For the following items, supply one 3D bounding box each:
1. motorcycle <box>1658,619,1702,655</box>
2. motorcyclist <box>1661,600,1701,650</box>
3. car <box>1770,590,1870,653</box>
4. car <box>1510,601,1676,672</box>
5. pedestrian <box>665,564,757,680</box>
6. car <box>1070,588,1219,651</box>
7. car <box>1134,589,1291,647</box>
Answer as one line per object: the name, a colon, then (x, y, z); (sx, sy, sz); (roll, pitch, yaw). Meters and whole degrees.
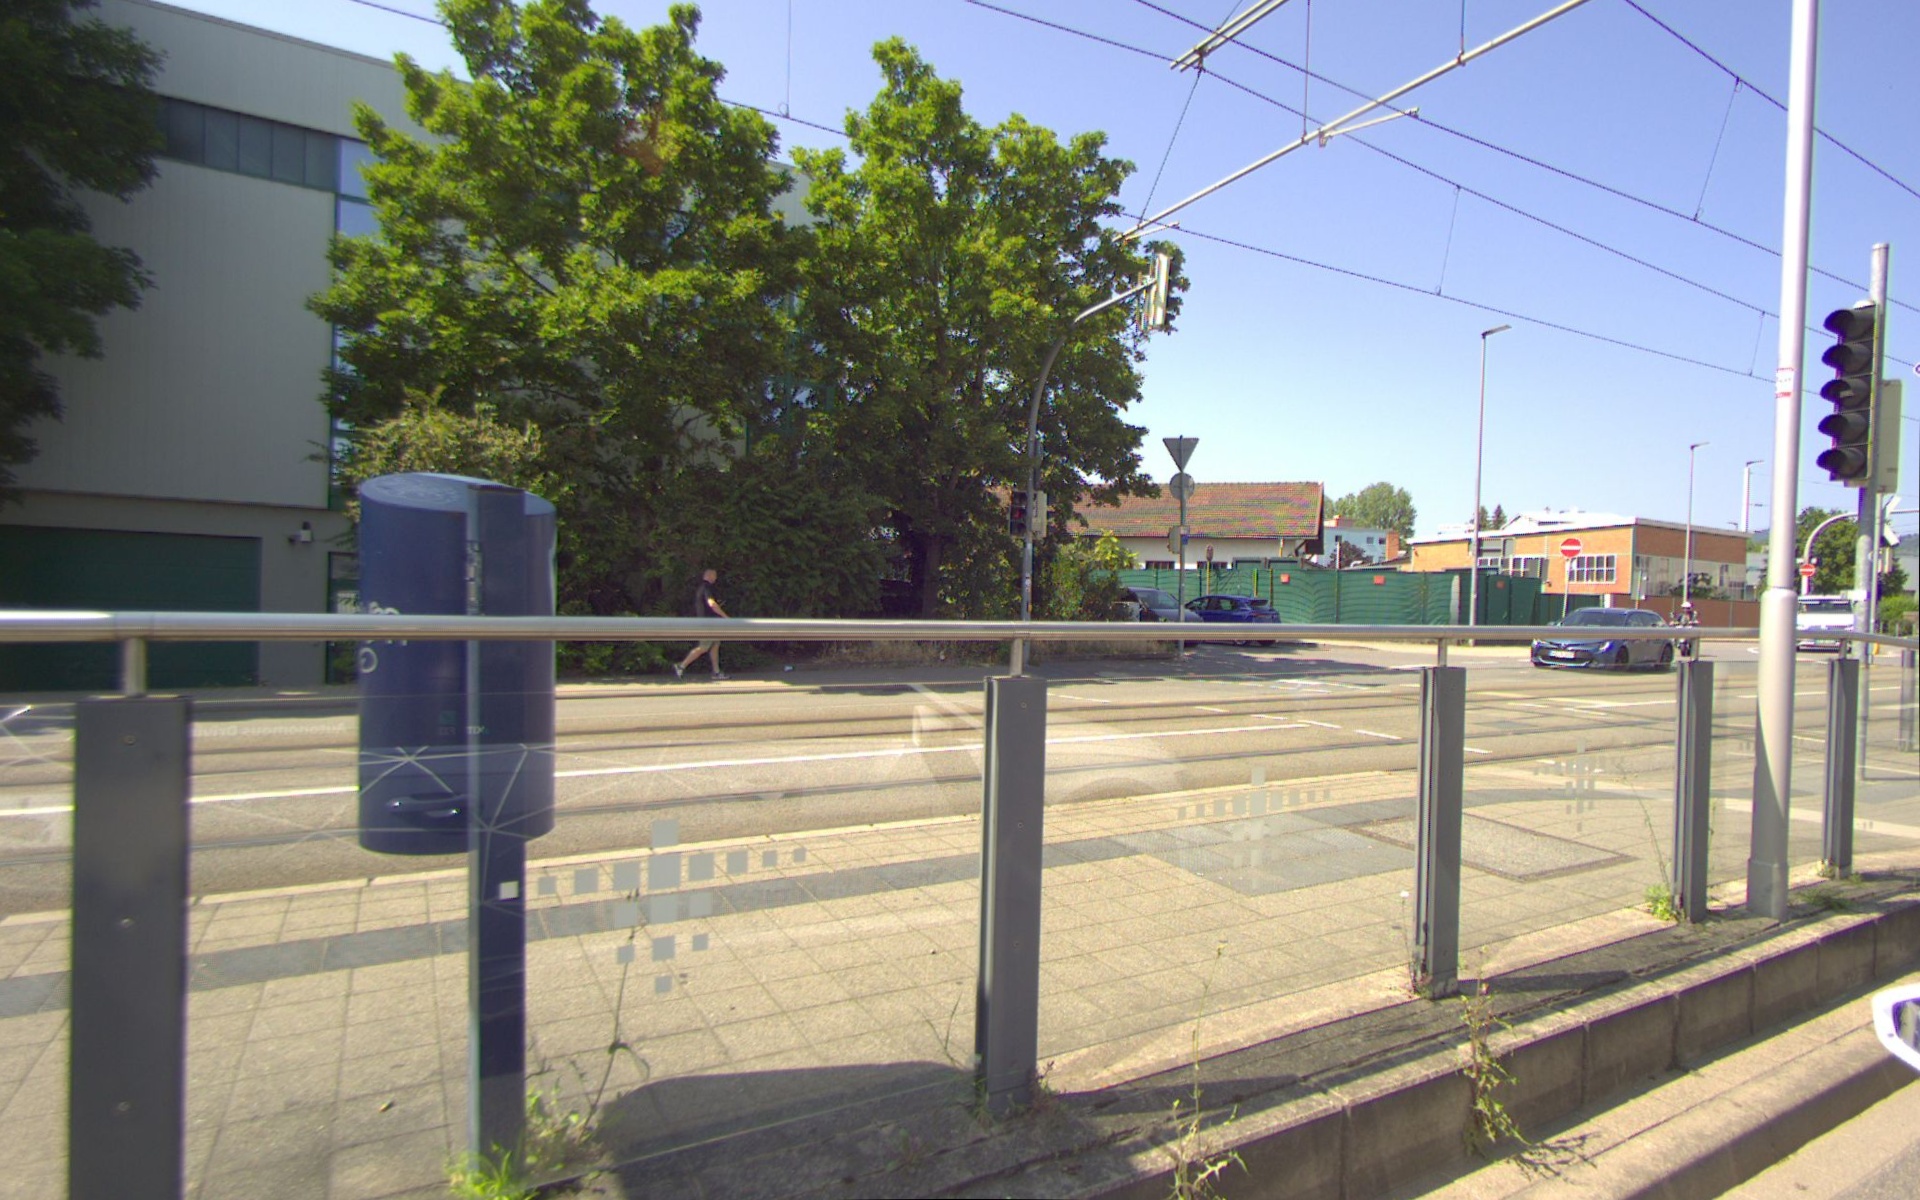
motorcycle: (22.142, 1.123, 30.863); (0.814, 1.025, 1.952); (2, 1, 44)
motorcyclist: (22.127, 0.757, 30.820); (0.827, 1.495, 0.957); (2, 1, 44)
car: (30.335, 0.715, 35.368); (4.983, 2.040, 2.141); (1, 1, -43)
car: (14.861, 0.796, 23.503); (4.555, 1.461, 1.892); (0, 1, -39)
pedestrian: (-3.797, 0.319, 15.274); (1.146, 1.693, 0.881); (1, 1, -30)
car: (5.095, 0.492, 28.258); (1.910, 1.604, 4.159); (1, 1, -29)
car: (7.430, 0.496, 29.730); (4.096, 1.557, 1.799); (2, 1, 38)
